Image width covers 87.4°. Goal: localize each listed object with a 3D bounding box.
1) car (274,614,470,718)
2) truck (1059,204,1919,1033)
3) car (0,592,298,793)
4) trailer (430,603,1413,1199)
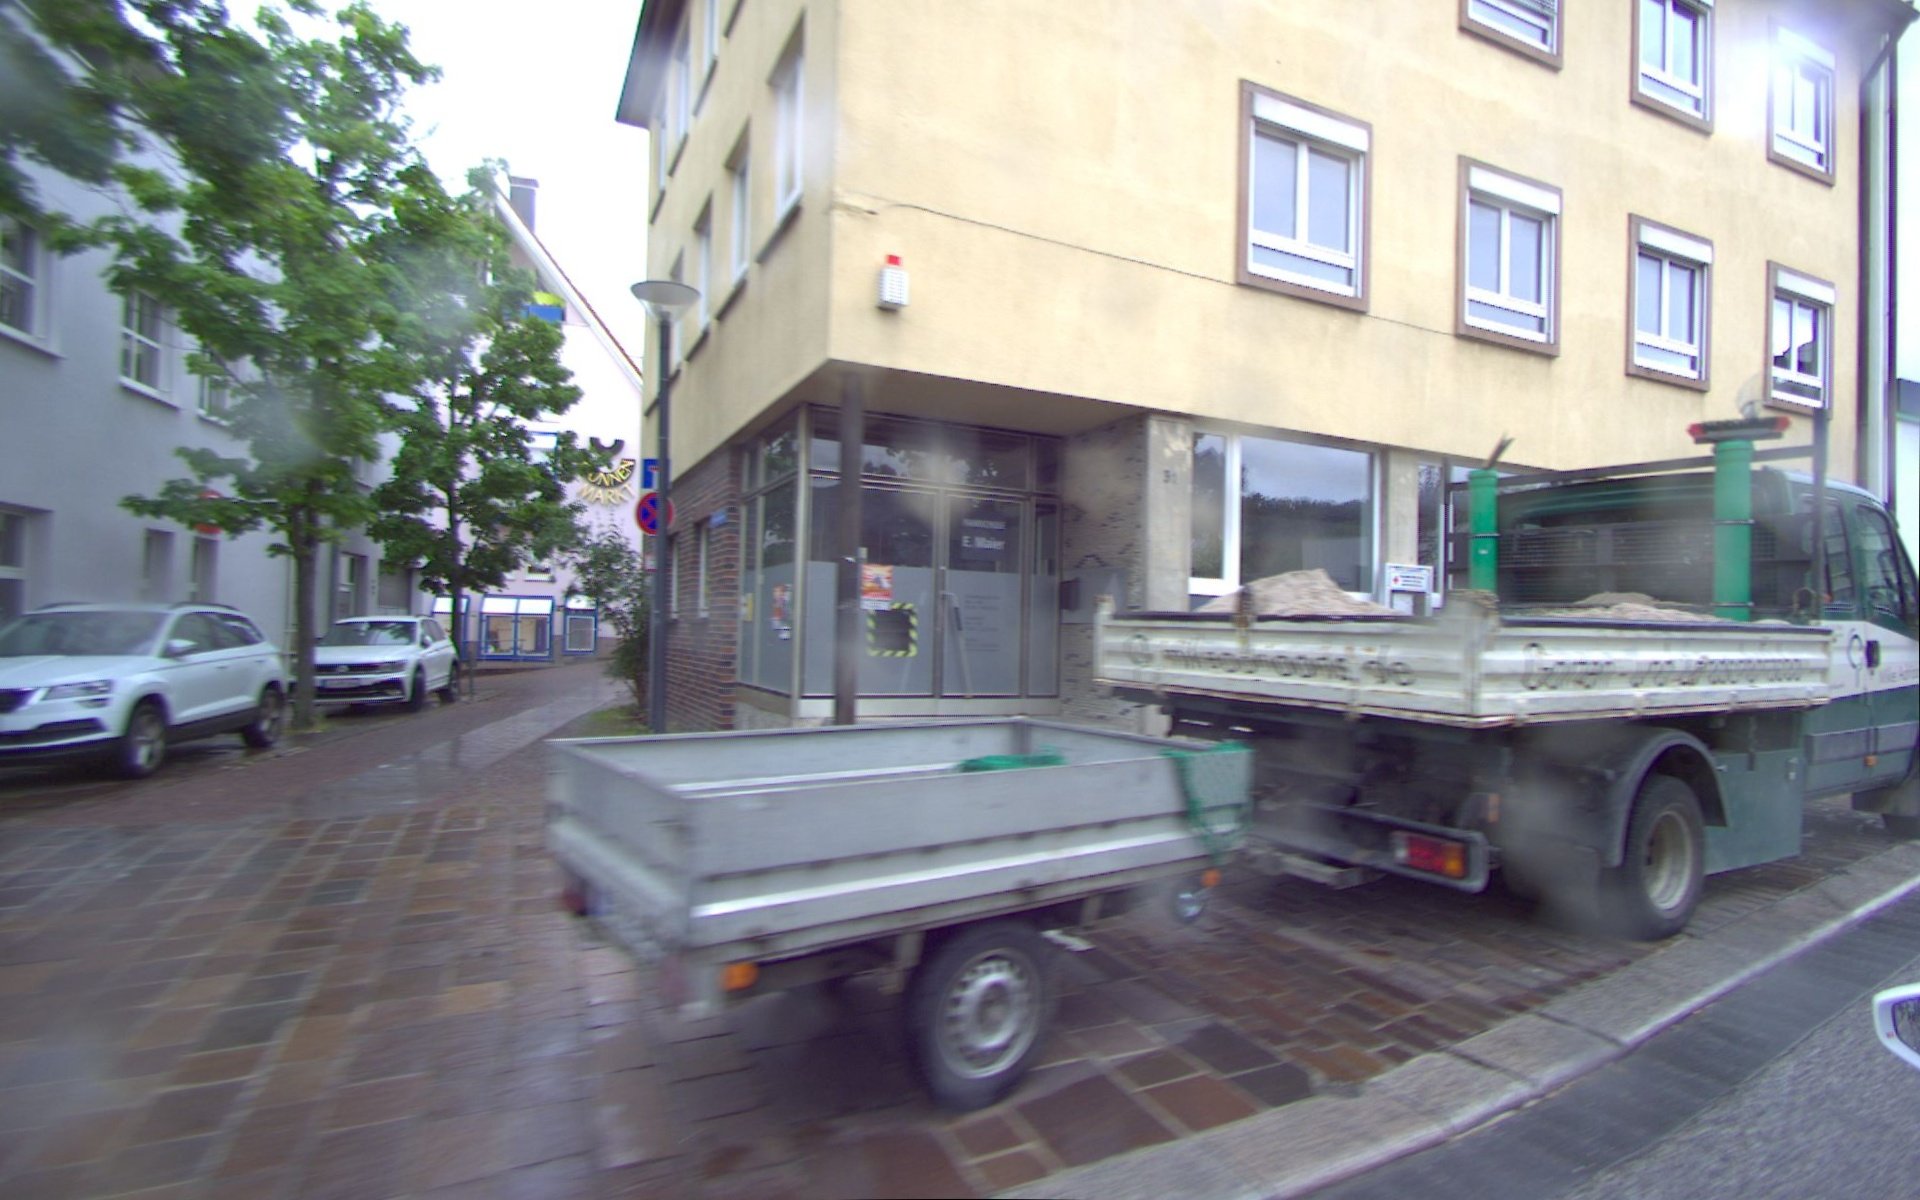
[{"bbox_3d":[-10.058,1.091,17.546,1.899,1.587,3.989,1,-2,-14],"label":"car"},{"bbox_3d":[3.958,0.092,6.239,6.526,2.832,2.460,0,-2,-32],"label":"truck"},{"bbox_3d":[-8.329,0.803,9.800,1.933,1.585,3.988,0,-2,-15],"label":"car"},{"bbox_3d":[-0.091,0.720,3.632,3.125,1.364,1.719,0,-2,-32],"label":"trailer"}]
